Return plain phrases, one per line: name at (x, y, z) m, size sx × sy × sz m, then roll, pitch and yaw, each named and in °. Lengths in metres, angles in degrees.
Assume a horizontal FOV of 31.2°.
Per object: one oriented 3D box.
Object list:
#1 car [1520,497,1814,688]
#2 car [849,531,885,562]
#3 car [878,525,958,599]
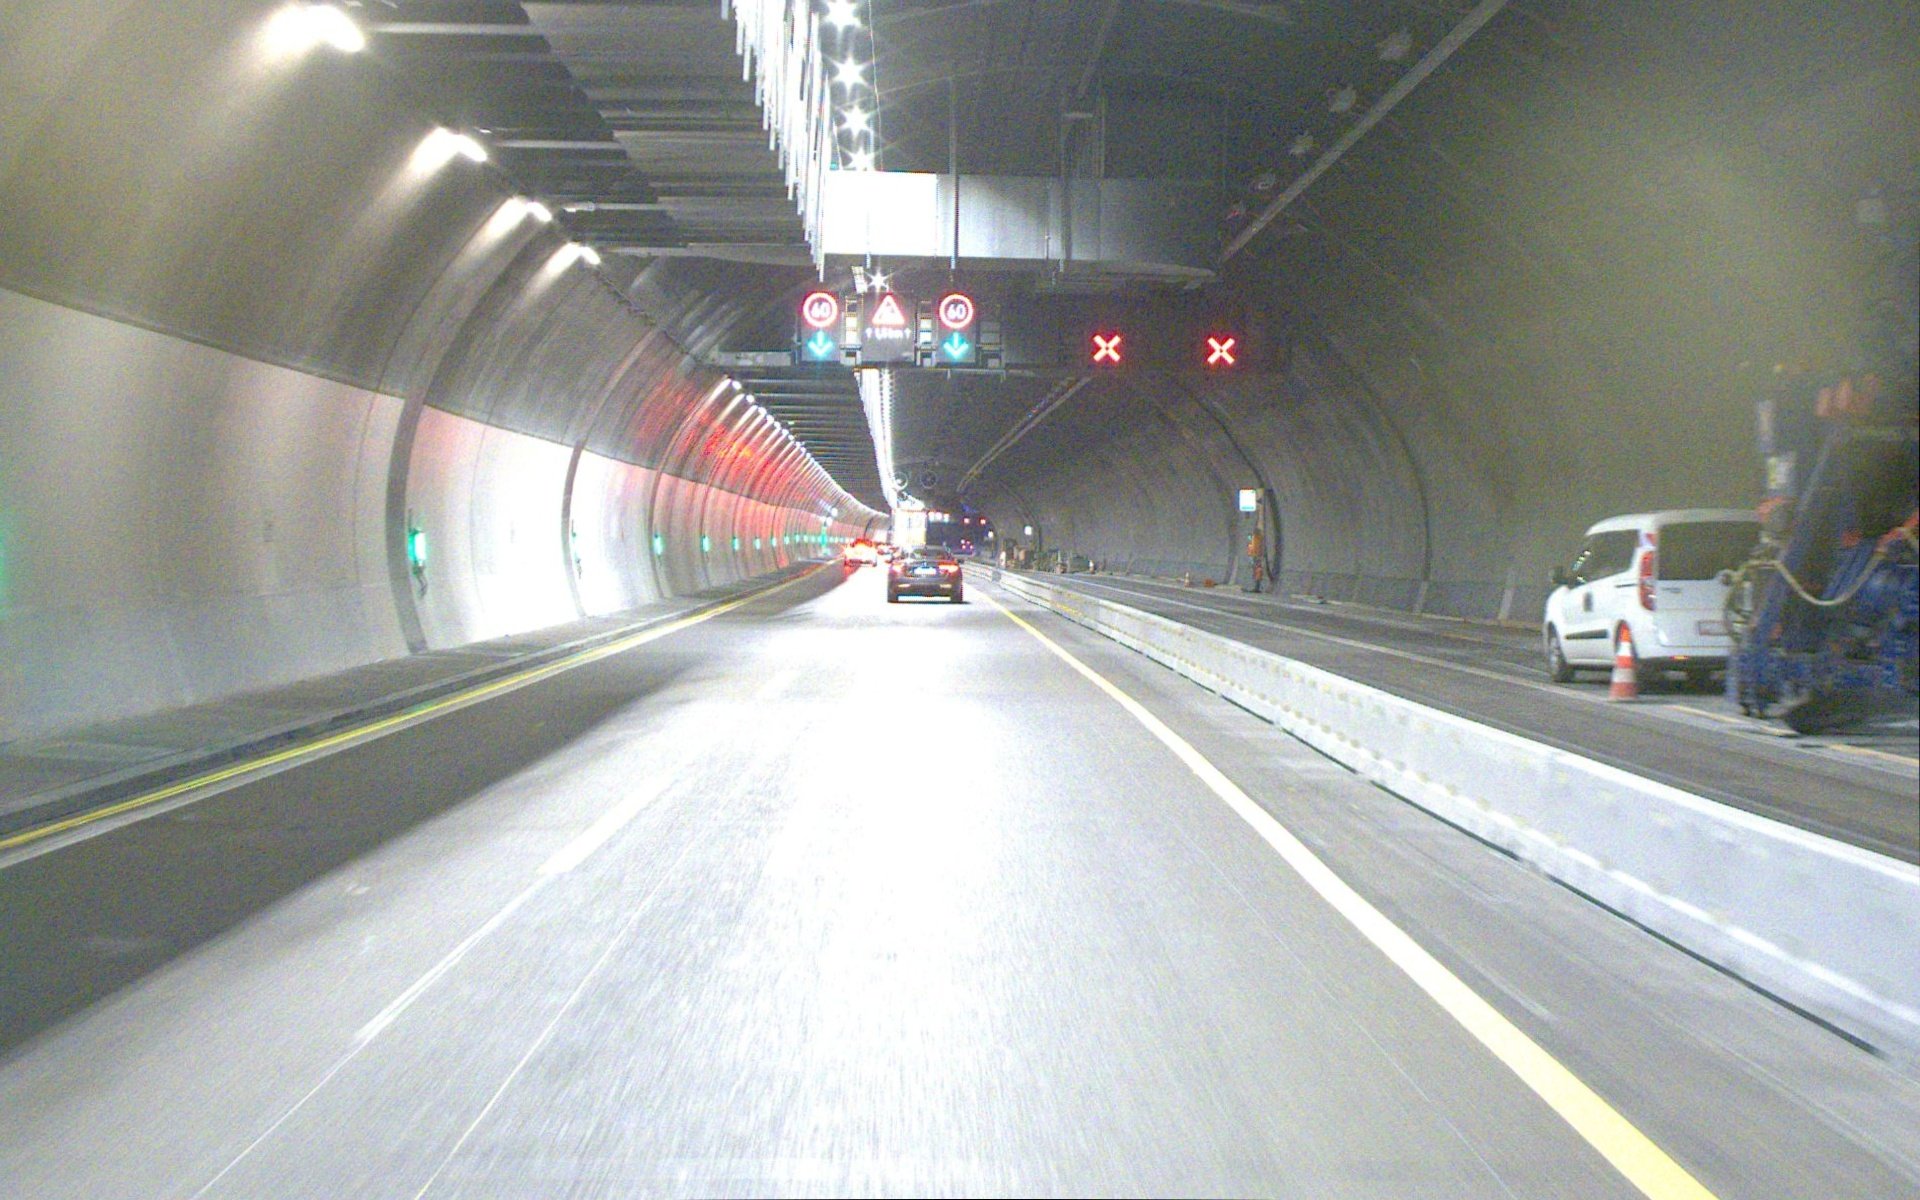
car at (7.333, -0.129, 36.104) m, size 1.750 × 1.839 × 4.647 m, roll -1°, pitch 1°, yaw -5°
car at (-5.162, -2.987, 190.671) m, size 1.930 × 1.681 × 4.000 m, roll 0°, pitch 1°, yaw 0°
car at (-1.054, -0.974, 85.939) m, size 1.947 × 1.788 × 4.000 m, roll 0°, pitch 1°, yaw -1°
